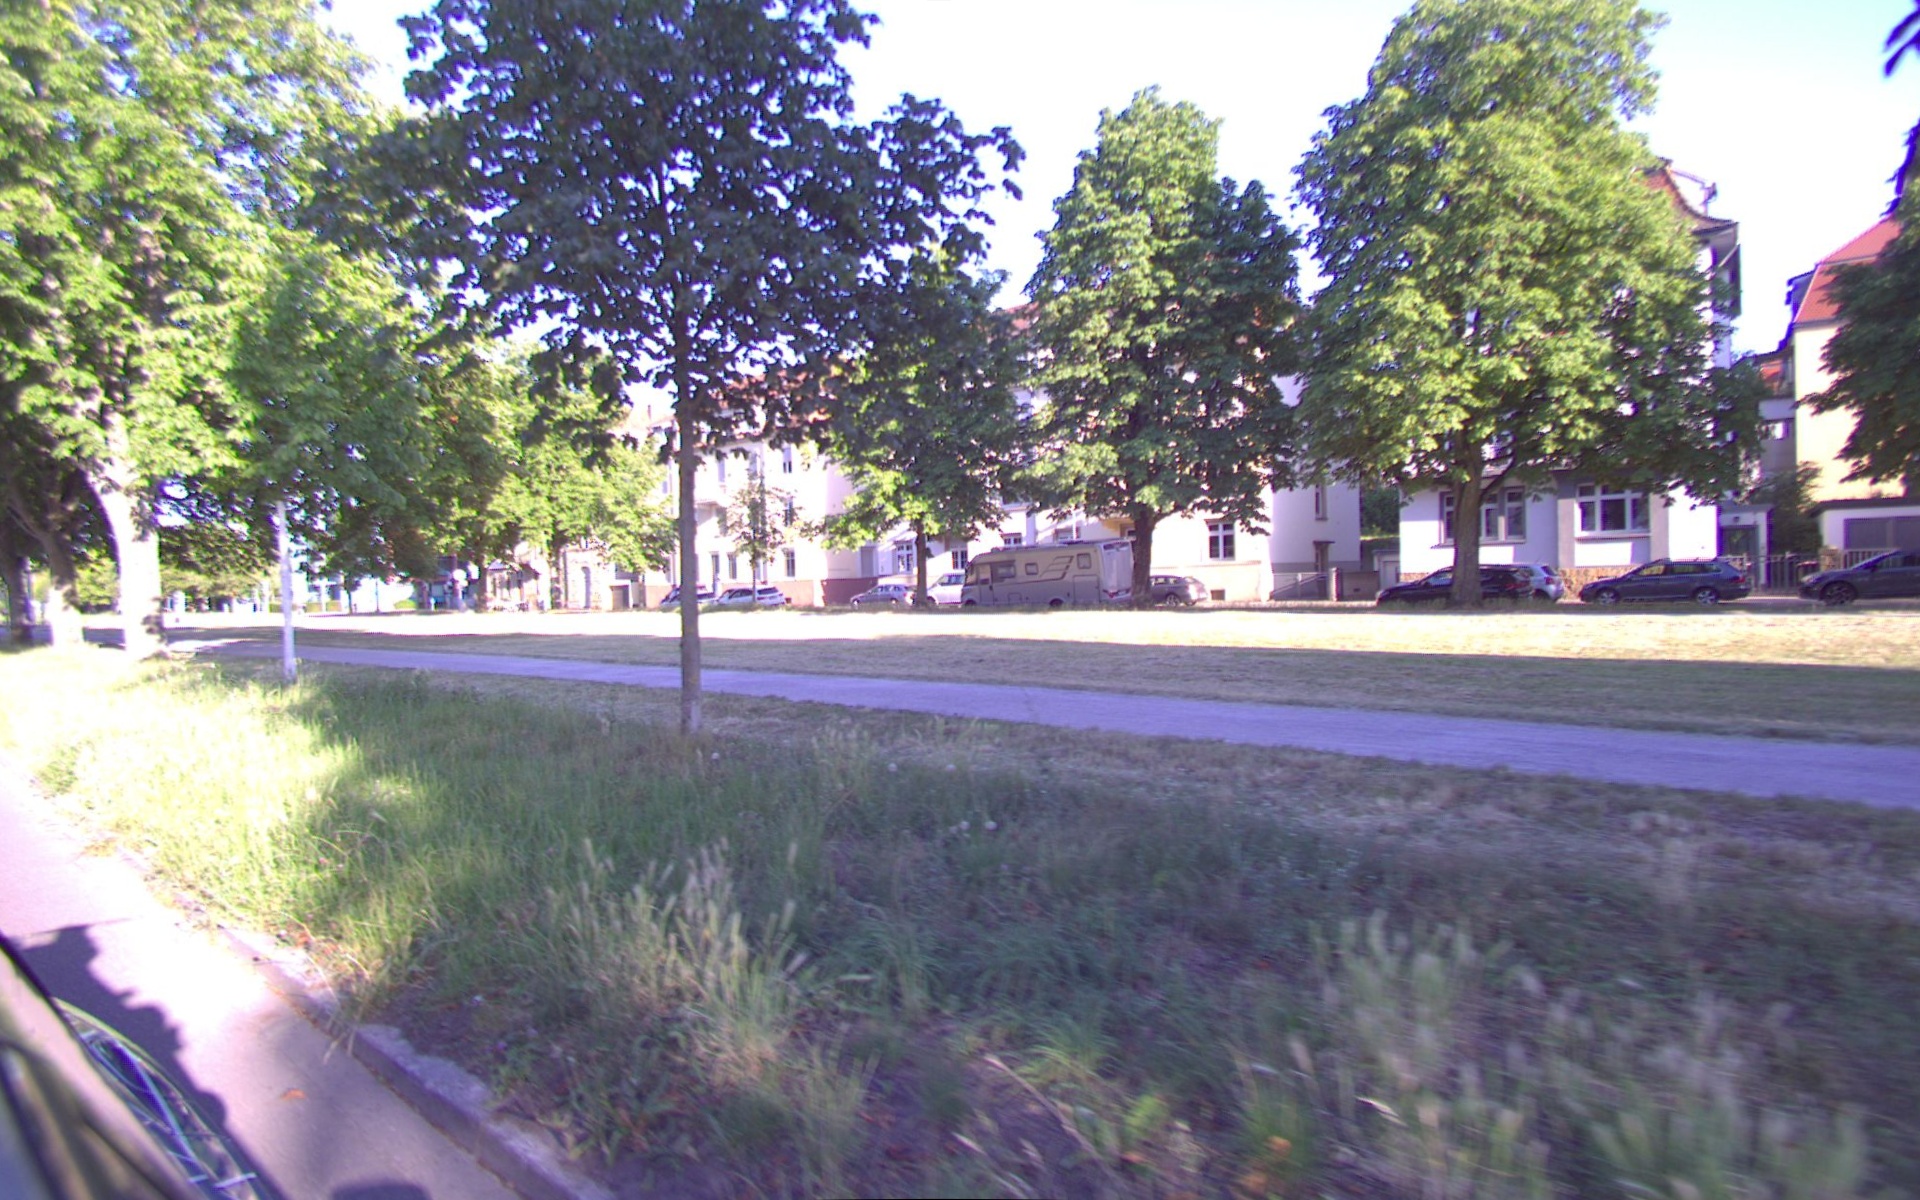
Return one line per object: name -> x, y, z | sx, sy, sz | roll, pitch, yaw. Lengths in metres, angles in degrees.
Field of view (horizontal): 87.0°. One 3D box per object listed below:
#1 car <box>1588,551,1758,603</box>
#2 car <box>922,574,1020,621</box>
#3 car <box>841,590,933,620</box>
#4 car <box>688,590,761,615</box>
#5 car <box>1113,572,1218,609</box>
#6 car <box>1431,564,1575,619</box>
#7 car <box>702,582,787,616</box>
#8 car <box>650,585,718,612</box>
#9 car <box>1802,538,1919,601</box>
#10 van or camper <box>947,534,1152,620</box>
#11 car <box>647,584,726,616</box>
car -> 22.543, -0.712, 32.074 | 4.168, 1.440, 1.973 | -2, 1, 42
car -> 0.502, -0.098, 51.362 | 4.876, 2.219, 1.972 | -1, 1, 43
car -> -4.015, 0.273, 55.186 | 4.865, 1.465, 1.977 | -1, 1, 35
car -> -15.186, 0.144, 65.073 | 4.871, 1.465, 1.974 | -1, 1, 39
car -> 8.910, -0.402, 43.997 | 3.998, 1.475, 1.973 | -1, 1, 41
car -> 18.765, -0.289, 35.042 | 4.000, 1.747, 1.972 | -2, 1, 43
car -> -11.589, -0.045, 54.277 | 4.874, 1.703, 1.973 | -1, 1, 42
car -> -18.822, -0.080, 68.827 | 4.871, 1.703, 1.974 | -1, 1, 39
car -> 26.421, -0.875, 28.255 | 4.426, 1.665, 1.974 | -1, 1, 40
van or camper -> 3.503, -0.846, 41.232 | 7.894, 3.134, 3.220 | -1, 1, 42
car -> -15.666, 0.012, 57.803 | 4.874, 1.703, 1.973 | -1, 1, 42
